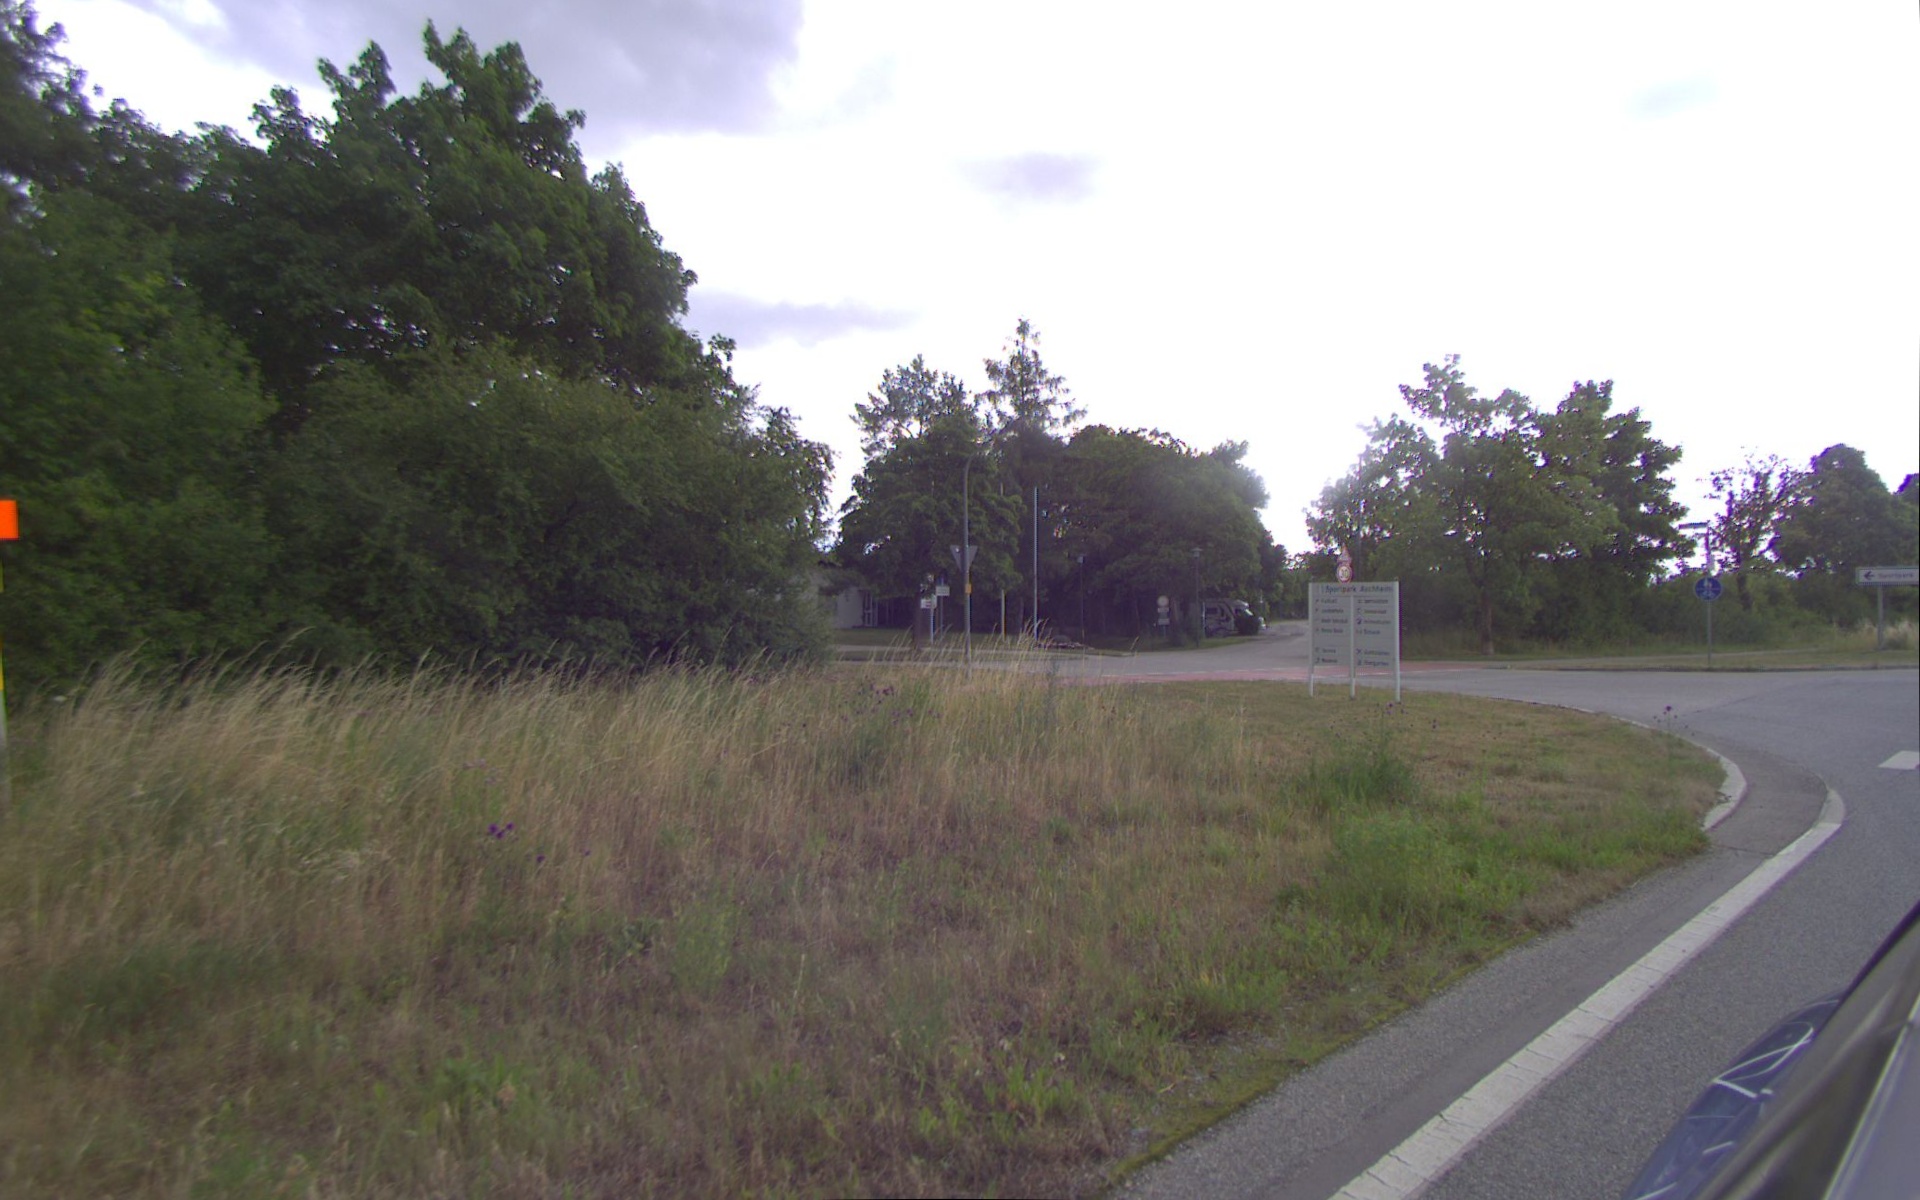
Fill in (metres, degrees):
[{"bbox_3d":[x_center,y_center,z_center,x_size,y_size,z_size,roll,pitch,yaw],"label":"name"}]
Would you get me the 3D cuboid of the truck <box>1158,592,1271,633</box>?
[{"bbox_3d":[20.070,0.961,79.767,8.280,3.149,3.048,0,0,24],"label":"truck"}]
